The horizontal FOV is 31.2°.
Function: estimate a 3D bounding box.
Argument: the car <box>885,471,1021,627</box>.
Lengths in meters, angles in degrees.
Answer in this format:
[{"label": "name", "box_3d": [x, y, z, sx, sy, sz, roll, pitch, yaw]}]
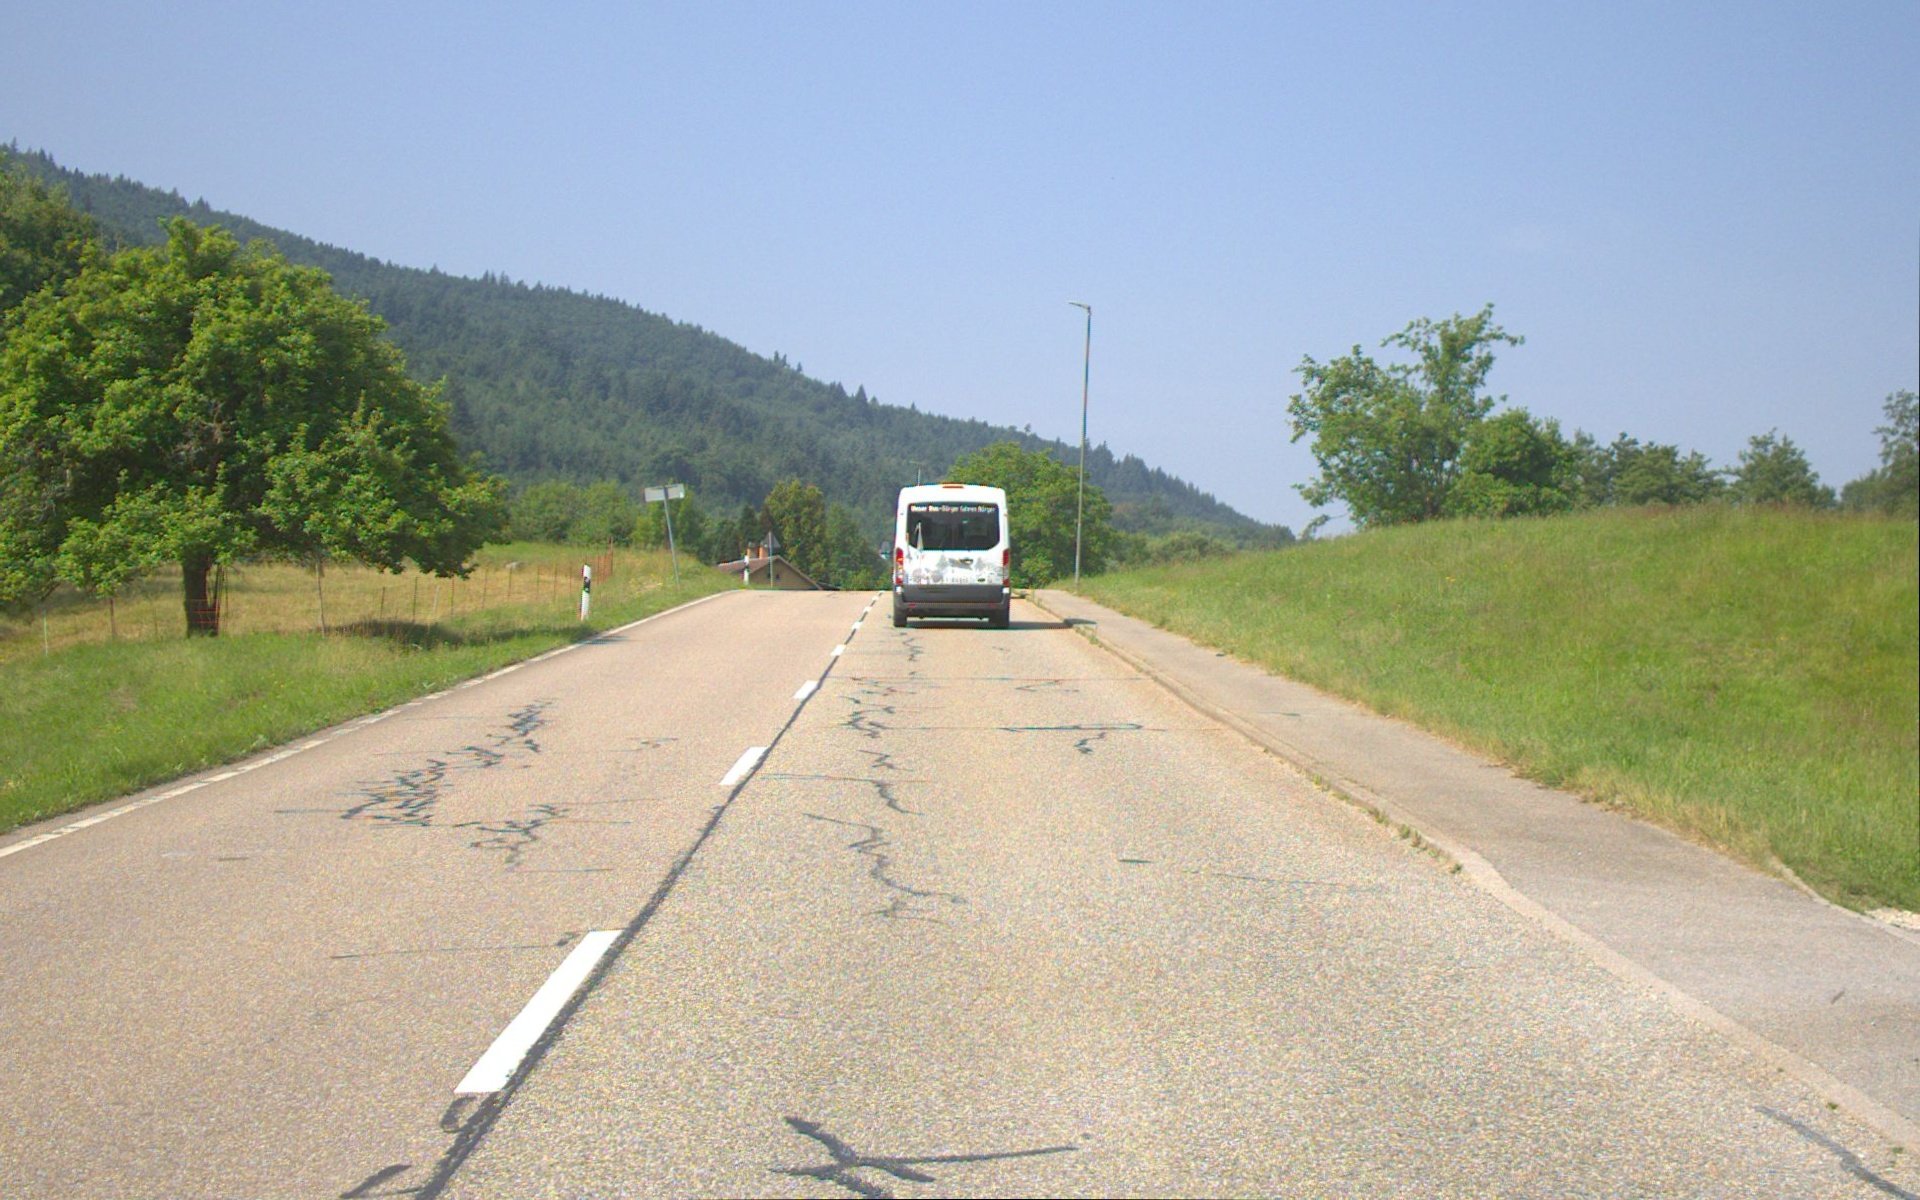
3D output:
[{"label": "car", "box_3d": [-0.142, -0.839, 60.437, 2.222, 2.517, 4.984, -2, -1, -1]}]
